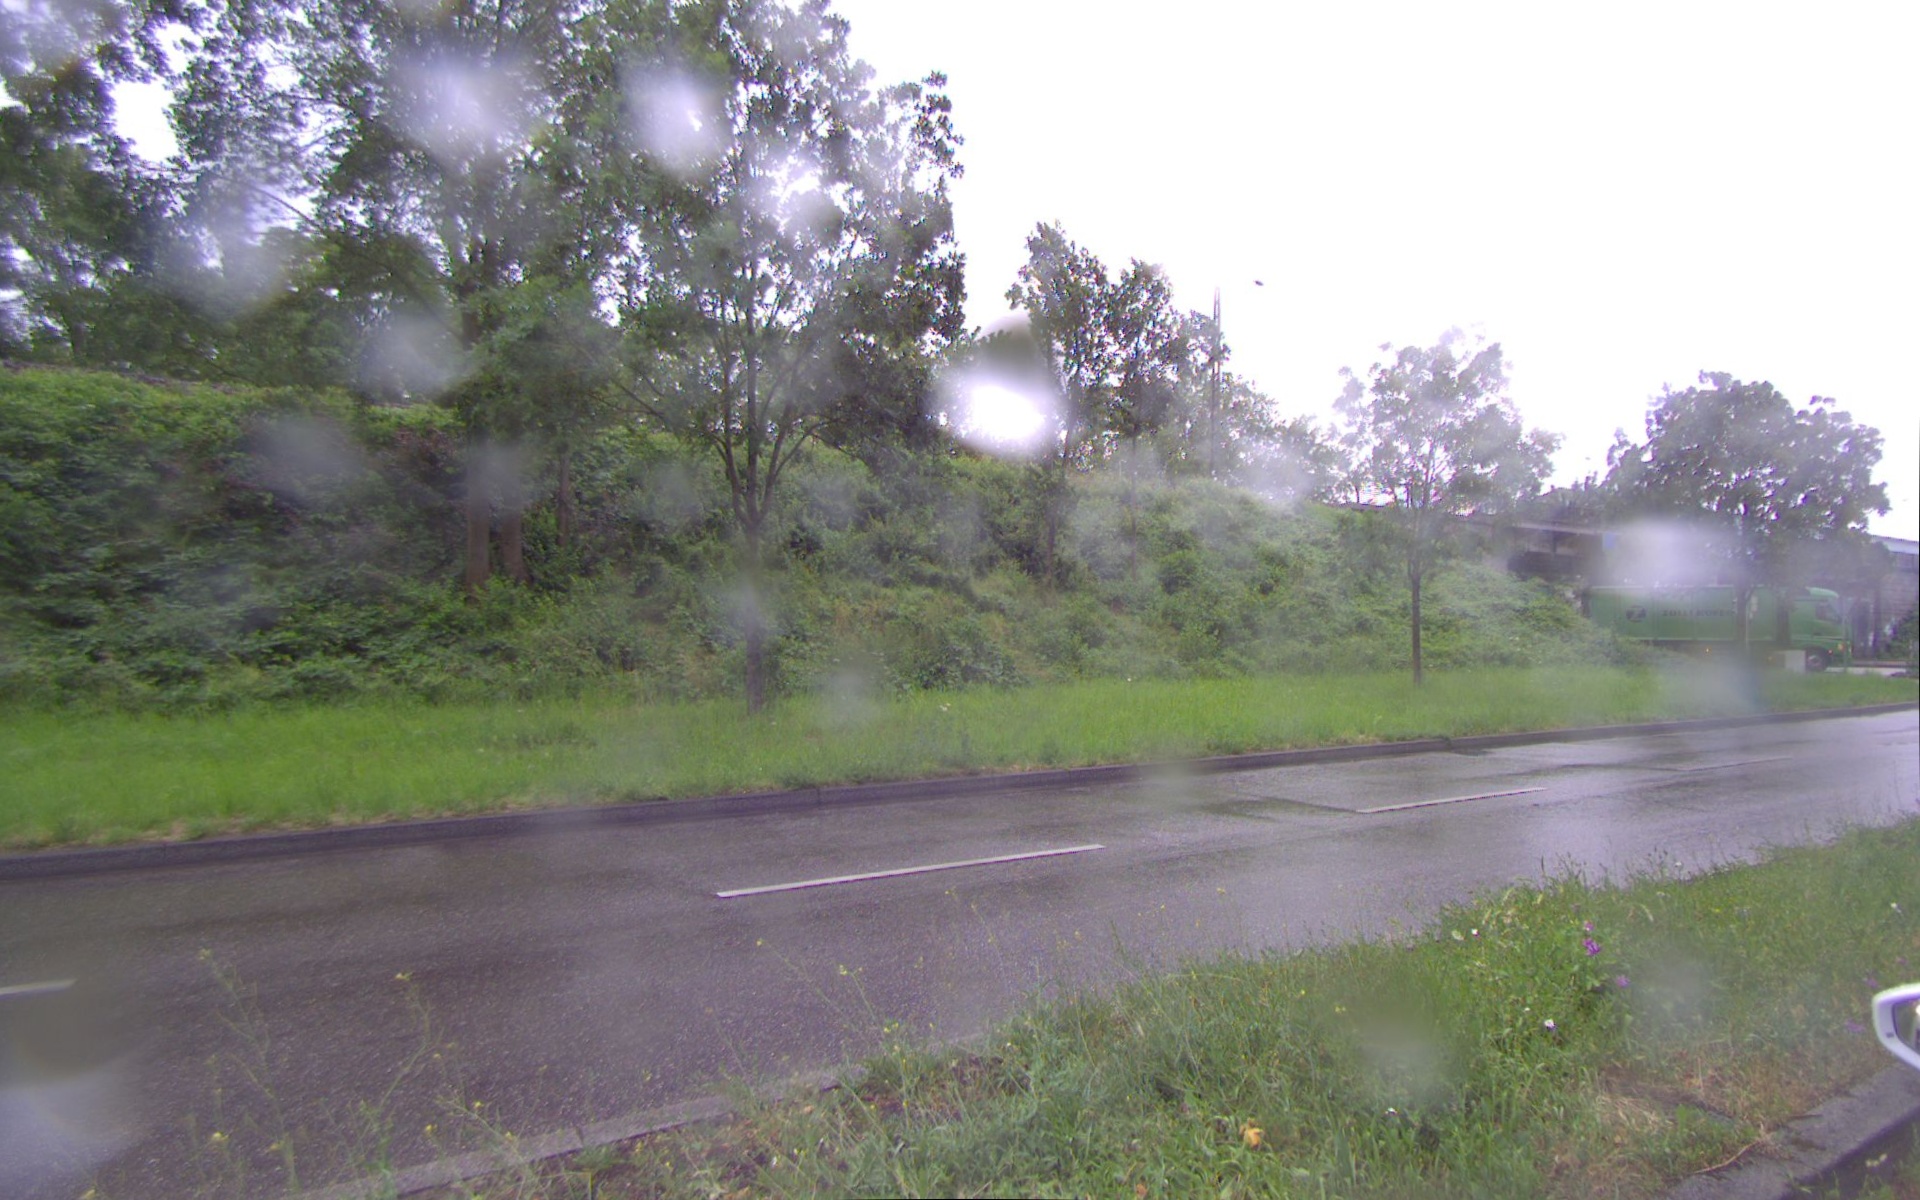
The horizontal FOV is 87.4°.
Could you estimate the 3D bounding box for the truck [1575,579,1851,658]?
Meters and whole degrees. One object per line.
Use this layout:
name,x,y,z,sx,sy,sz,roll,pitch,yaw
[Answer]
truck,34.291,0.802,46.302,9.872,3.416,2.346,0,-1,25
